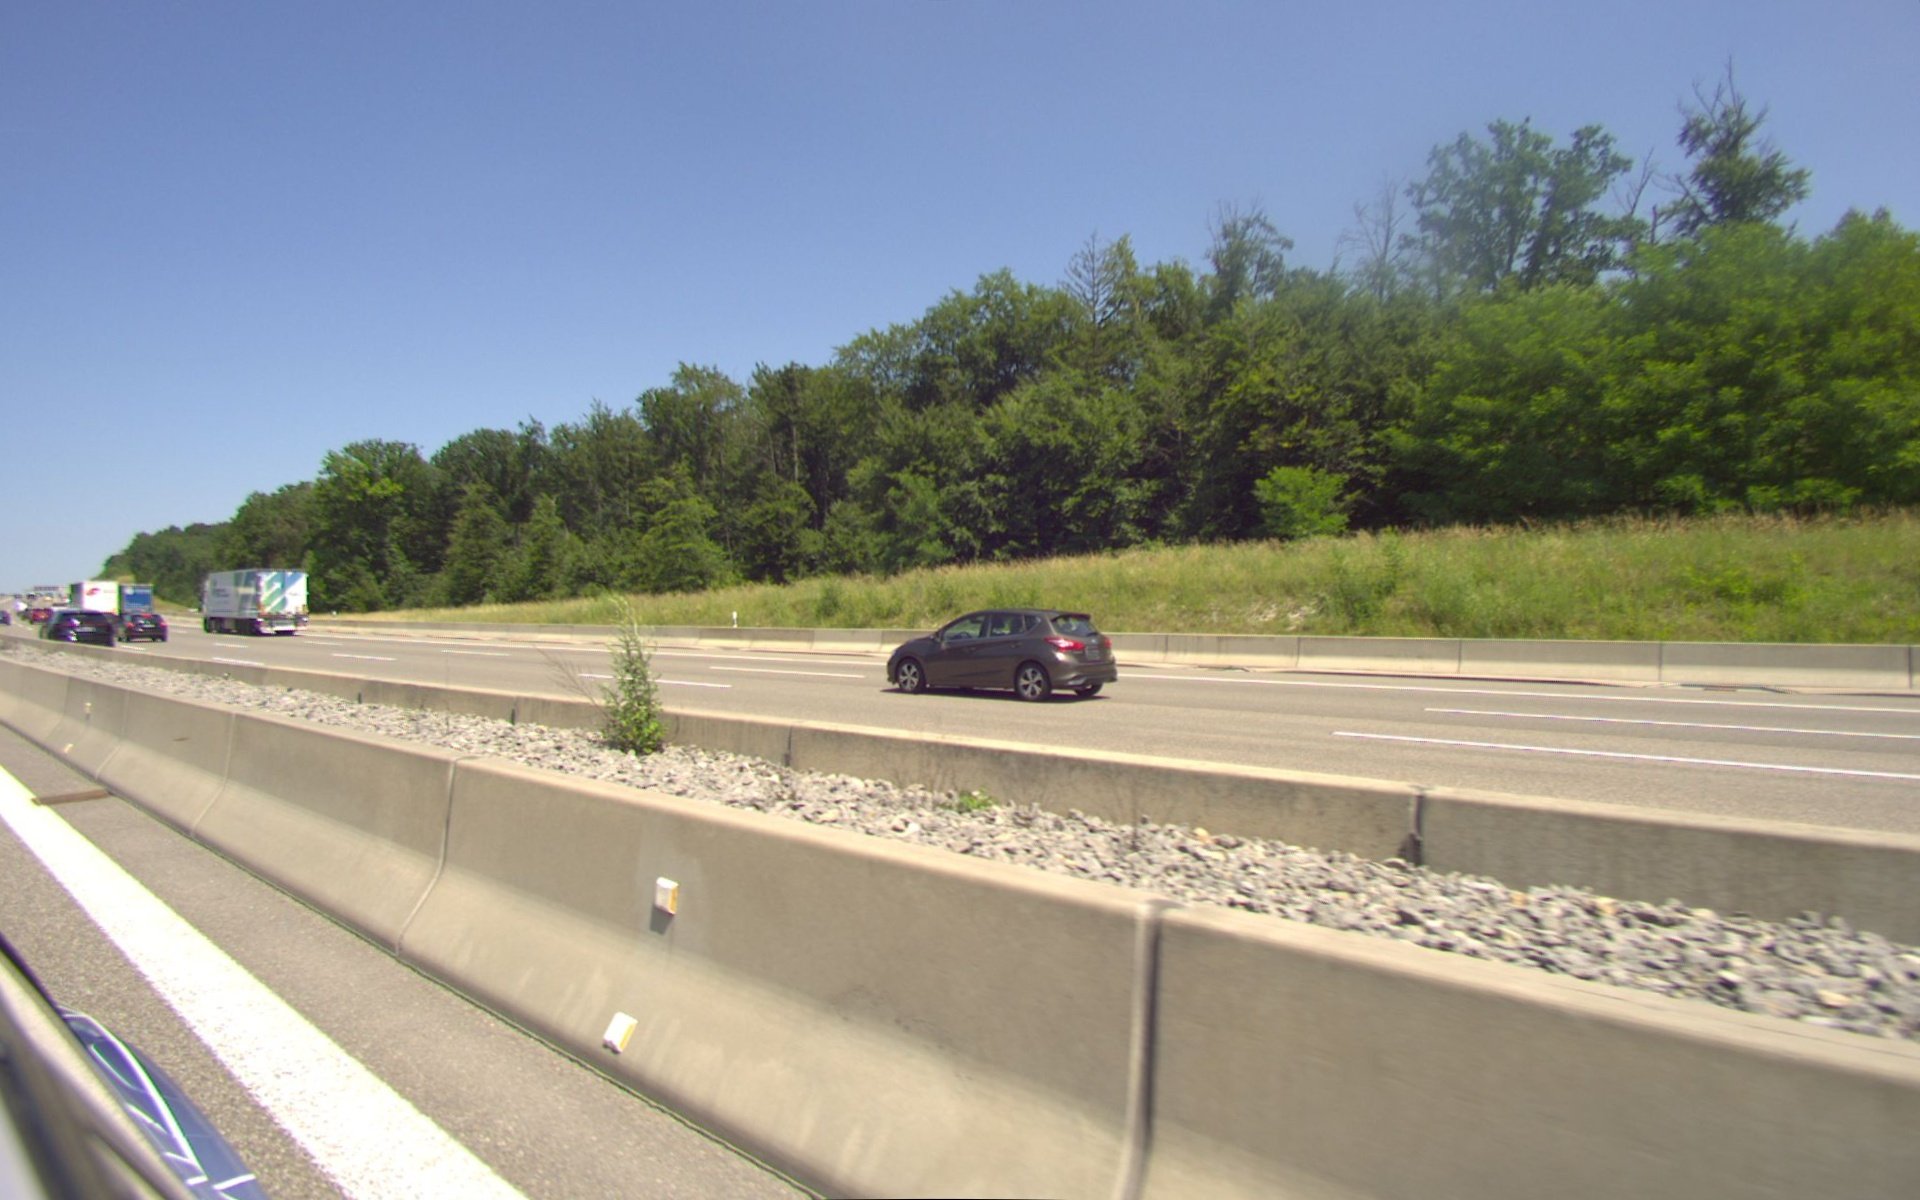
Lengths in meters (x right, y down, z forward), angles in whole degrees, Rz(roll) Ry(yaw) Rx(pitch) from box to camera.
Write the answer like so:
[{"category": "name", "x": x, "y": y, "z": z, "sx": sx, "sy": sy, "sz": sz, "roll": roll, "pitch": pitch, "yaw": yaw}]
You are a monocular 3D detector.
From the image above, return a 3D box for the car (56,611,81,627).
[{"category": "car", "x": -120.656, "y": 2.561, "z": 136.979, "sx": 5.025, "sy": 1.980, "sz": 2.053, "roll": 0, "pitch": 0, "yaw": 43}]

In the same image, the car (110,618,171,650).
[{"category": "car", "x": -42.046, "y": 1.715, "z": 51.910, "sx": 3.998, "sy": 1.476, "sz": 1.757, "roll": 0, "pitch": 0, "yaw": 41}]

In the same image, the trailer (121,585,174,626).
[{"category": "trailer", "x": -82.561, "y": 0.581, "z": 102.790, "sx": 10.764, "sy": 3.953, "sz": 2.694, "roll": 0, "pitch": 0, "yaw": 43}]

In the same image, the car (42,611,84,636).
[{"category": "car", "x": -66.193, "y": 1.713, "z": 74.664, "sx": 4.891, "sy": 1.816, "sz": 1.799, "roll": 0, "pitch": 0, "yaw": 42}]

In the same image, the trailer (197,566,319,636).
[{"category": "trailer", "x": -45.423, "y": 0.136, "z": 65.134, "sx": 15.285, "sy": 4.068, "sz": 3.194, "roll": -1, "pitch": -1, "yaw": 43}]

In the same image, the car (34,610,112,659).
[{"category": "car", "x": -35.319, "y": 1.328, "z": 40.236, "sx": 4.984, "sy": 1.843, "sz": 1.808, "roll": -1, "pitch": -1, "yaw": 43}]

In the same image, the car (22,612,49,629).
[{"category": "car", "x": -90.771, "y": 2.016, "z": 99.369, "sx": 4.546, "sy": 1.652, "sz": 1.777, "roll": -1, "pitch": -1, "yaw": 45}]

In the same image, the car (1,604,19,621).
[{"category": "car", "x": -132.628, "y": 1.716, "z": 141.324, "sx": 1.835, "sy": 2.209, "sz": 4.070, "roll": -1, "pitch": 0, "yaw": -43}]

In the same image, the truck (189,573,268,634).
[{"category": "truck", "x": -50.489, "y": 0.209, "z": 69.806, "sx": 6.415, "sy": 4.033, "sz": 3.186, "roll": 0, "pitch": 0, "yaw": 42}]

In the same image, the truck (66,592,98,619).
[{"category": "truck", "x": -141.768, "y": 0.927, "z": 163.364, "sx": 9.349, "sy": 4.241, "sz": 2.910, "roll": 0, "pitch": 0, "yaw": 44}]

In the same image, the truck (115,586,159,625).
[{"category": "truck", "x": -87.278, "y": 0.583, "z": 107.274, "sx": 6.938, "sy": 4.044, "sz": 2.692, "roll": -1, "pitch": -1, "yaw": 43}]

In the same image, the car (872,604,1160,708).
[{"category": "car", "x": 0.828, "y": 0.840, "z": 17.344, "sx": 4.798, "sy": 1.507, "sz": 1.972, "roll": 0, "pitch": 0, "yaw": 43}]

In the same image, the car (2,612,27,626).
[{"category": "car", "x": -109.246, "y": 2.151, "z": 116.896, "sx": 5.260, "sy": 1.564, "sz": 1.789, "roll": 0, "pitch": 0, "yaw": 43}]

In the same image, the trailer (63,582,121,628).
[{"category": "trailer", "x": -83.795, "y": 0.473, "z": 97.610, "sx": 12.154, "sy": 4.131, "sz": 2.904, "roll": 0, "pitch": 0, "yaw": 43}]
